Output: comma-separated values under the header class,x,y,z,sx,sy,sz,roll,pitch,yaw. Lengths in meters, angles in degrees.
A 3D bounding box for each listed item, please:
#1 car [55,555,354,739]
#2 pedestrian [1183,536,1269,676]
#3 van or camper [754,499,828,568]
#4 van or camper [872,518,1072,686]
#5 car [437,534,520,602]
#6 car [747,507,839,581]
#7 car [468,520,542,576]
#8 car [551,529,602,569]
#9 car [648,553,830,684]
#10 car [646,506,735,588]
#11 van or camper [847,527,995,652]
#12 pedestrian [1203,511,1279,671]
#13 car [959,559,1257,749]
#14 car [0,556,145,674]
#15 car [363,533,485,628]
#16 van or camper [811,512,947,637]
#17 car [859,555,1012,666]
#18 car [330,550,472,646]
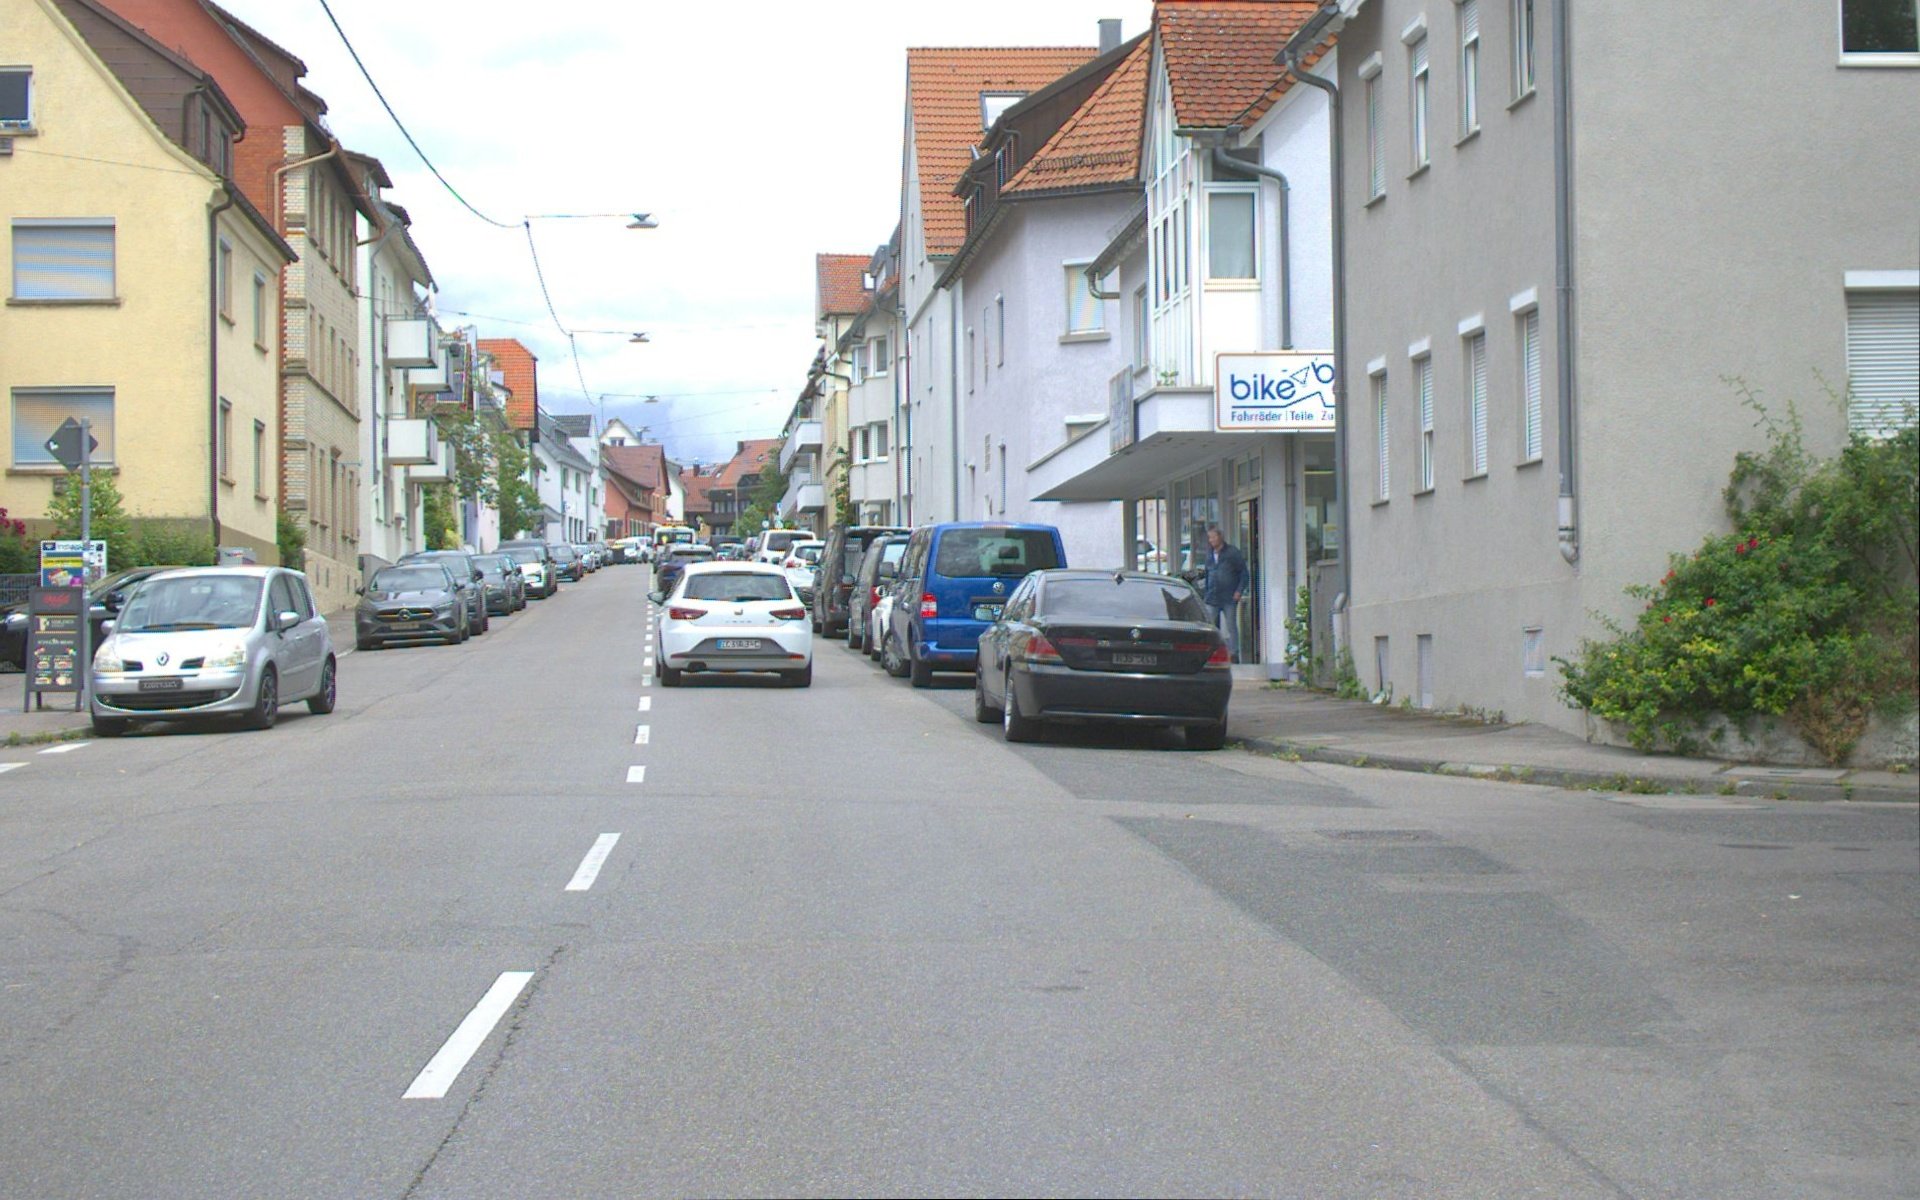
class,x,y,z,sx,sy,sz,roll,pitch,yaw
car,-7.363,0.409,33.899,1.834,1.572,4.031,-4,1,2
pedestrian,3.288,0.064,42.524,0.872,1.719,0.618,0,1,30
van or camper,-5.237,-2.049,105.798,1.940,2.047,4.564,0,1,-7
van or camper,0.079,-0.020,41.869,1.926,1.919,4.832,0,1,-6
car,-11.483,-0.783,82.172,1.642,1.468,4.180,-3,1,-5
car,-4.087,-1.379,83.452,1.940,1.687,4.001,2,1,-6
car,-13.528,-1.560,102.411,1.993,1.645,4.001,0,1,-5
car,-16.233,-2.157,145.710,1.993,1.645,4.180,0,1,-5
car,-2.665,0.185,40.648,1.940,1.434,4.001,0,1,-7
car,-6.905,-1.353,87.845,2.152,2.007,4.001,1,1,-6
van or camper,-0.659,-0.206,53.776,1.871,1.822,4.681,2,1,-6
pedestrian,3.555,-0.119,43.481,0.760,2.007,0.618,0,1,30
car,1.220,0.419,30.649,1.993,1.512,4.892,1,1,-5
car,-13.336,0.248,46.451,4.229,1.467,2.000,-2,-2,-4
car,-10.304,-0.415,66.344,1.993,1.645,4.555,-3,2,-6
van or camper,-1.509,-0.495,61.513,1.993,2.058,5.946,2,1,-5
car,-0.398,0.112,48.431,1.714,1.431,4.640,1,1,-6
car,-9.791,-0.069,60.454,1.993,1.467,4.244,-3,2,-4
